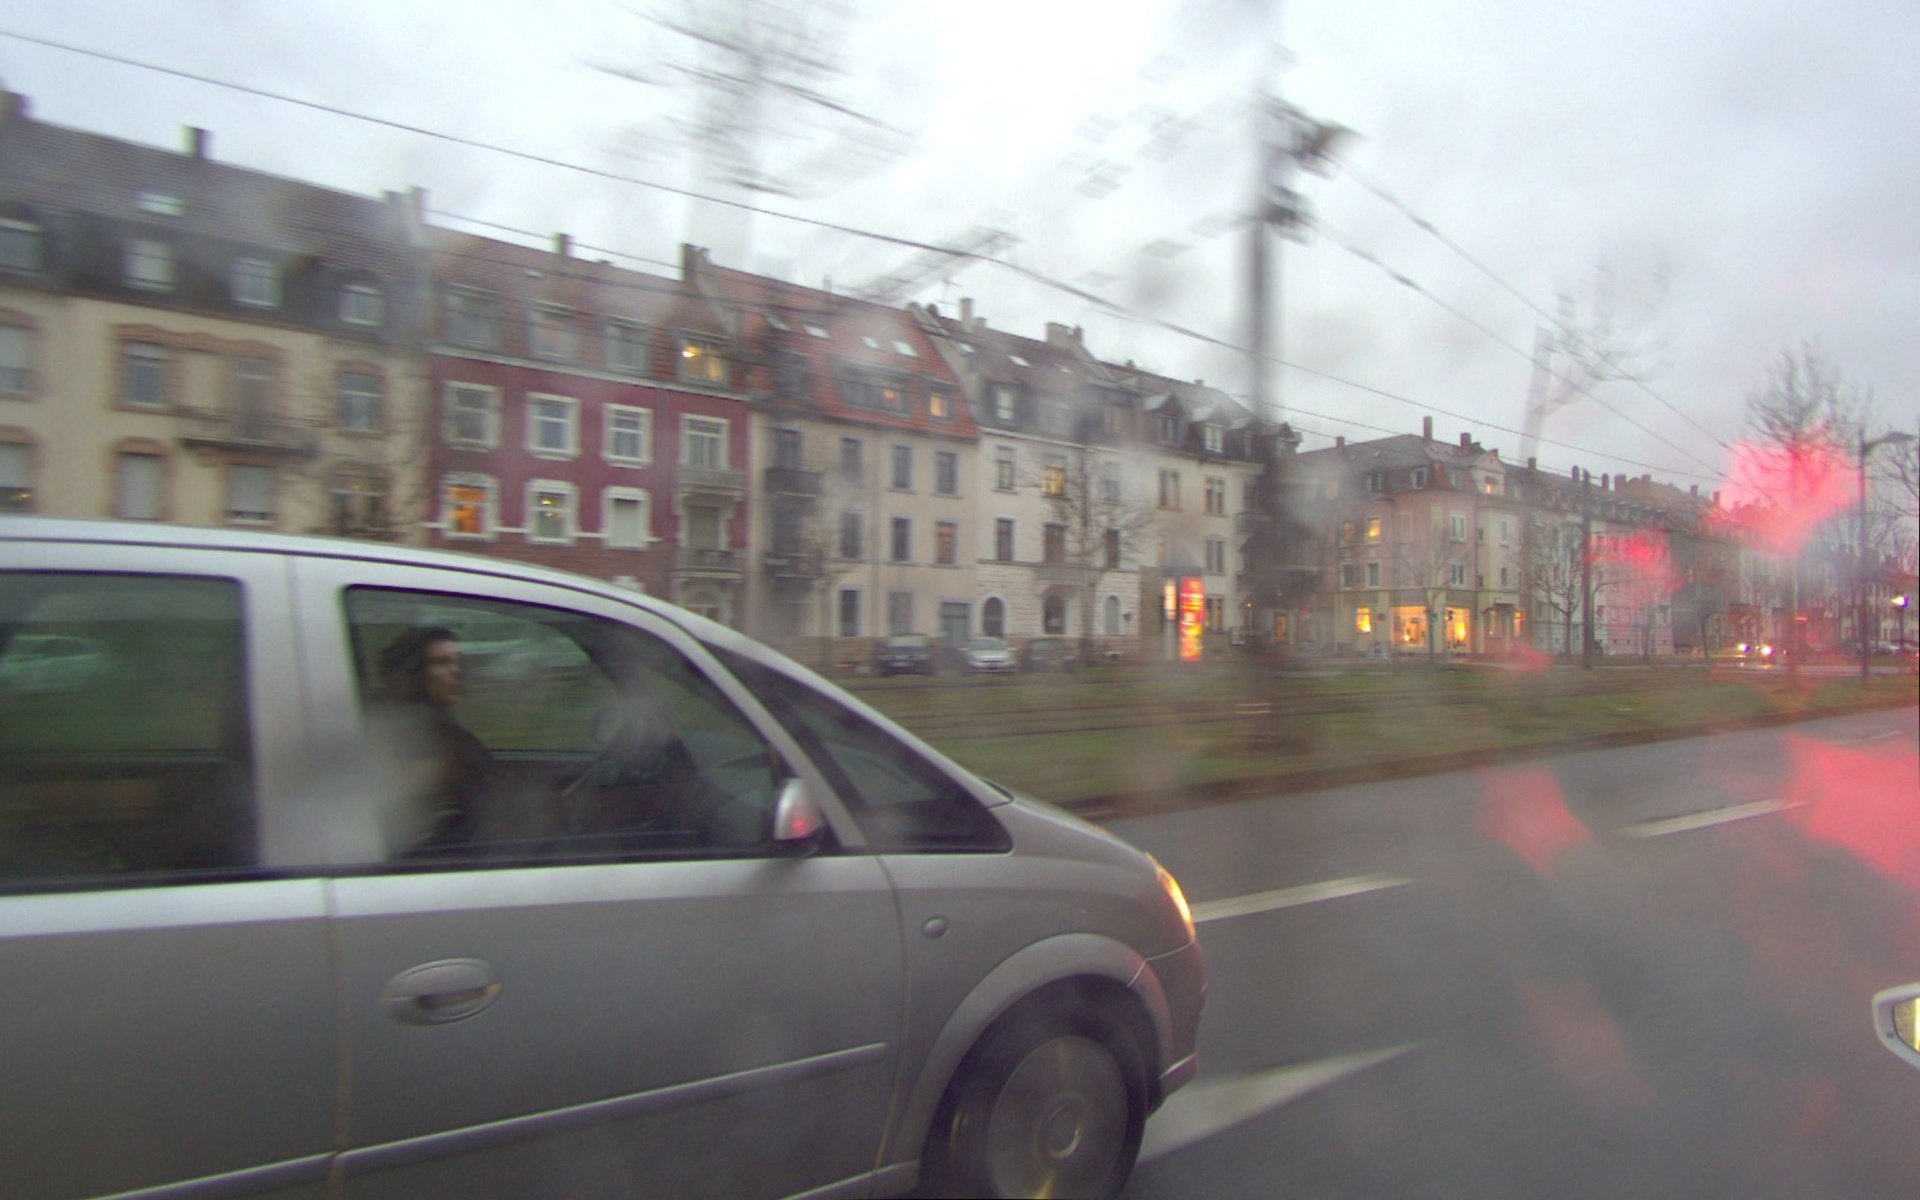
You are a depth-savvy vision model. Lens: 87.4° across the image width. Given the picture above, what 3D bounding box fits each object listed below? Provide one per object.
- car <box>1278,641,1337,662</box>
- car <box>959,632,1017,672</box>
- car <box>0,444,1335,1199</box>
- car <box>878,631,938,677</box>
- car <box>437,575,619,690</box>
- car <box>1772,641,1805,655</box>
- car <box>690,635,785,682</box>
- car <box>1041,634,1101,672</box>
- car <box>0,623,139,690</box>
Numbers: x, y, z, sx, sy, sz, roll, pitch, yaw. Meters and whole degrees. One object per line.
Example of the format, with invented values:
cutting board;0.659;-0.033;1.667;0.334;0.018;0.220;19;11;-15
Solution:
car;27.006;3.975;78.140;1.985;1.439;3.952;2;-2;-41
car;1.020;1.859;36.487;1.960;1.349;4.002;0;-2;2
car;-1.149;0.626;2.478;4.008;1.621;1.800;2;-1;-31
car;-1.761;1.846;35.110;1.961;1.505;4.000;0;-2;-1
car;-11.726;0.907;27.854;1.959;2.834;5.872;0;-2;6
car;83.123;4.807;100.743;3.524;1.372;1.763;2;-2;-37
car;-6.856;1.785;31.355;1.960;1.349;4.002;0;-2;2
car;4.145;1.989;38.107;1.960;1.349;4.002;0;-2;2
car;-20.097;1.169;21.373;1.961;1.349;4.001;0;-2;-1
